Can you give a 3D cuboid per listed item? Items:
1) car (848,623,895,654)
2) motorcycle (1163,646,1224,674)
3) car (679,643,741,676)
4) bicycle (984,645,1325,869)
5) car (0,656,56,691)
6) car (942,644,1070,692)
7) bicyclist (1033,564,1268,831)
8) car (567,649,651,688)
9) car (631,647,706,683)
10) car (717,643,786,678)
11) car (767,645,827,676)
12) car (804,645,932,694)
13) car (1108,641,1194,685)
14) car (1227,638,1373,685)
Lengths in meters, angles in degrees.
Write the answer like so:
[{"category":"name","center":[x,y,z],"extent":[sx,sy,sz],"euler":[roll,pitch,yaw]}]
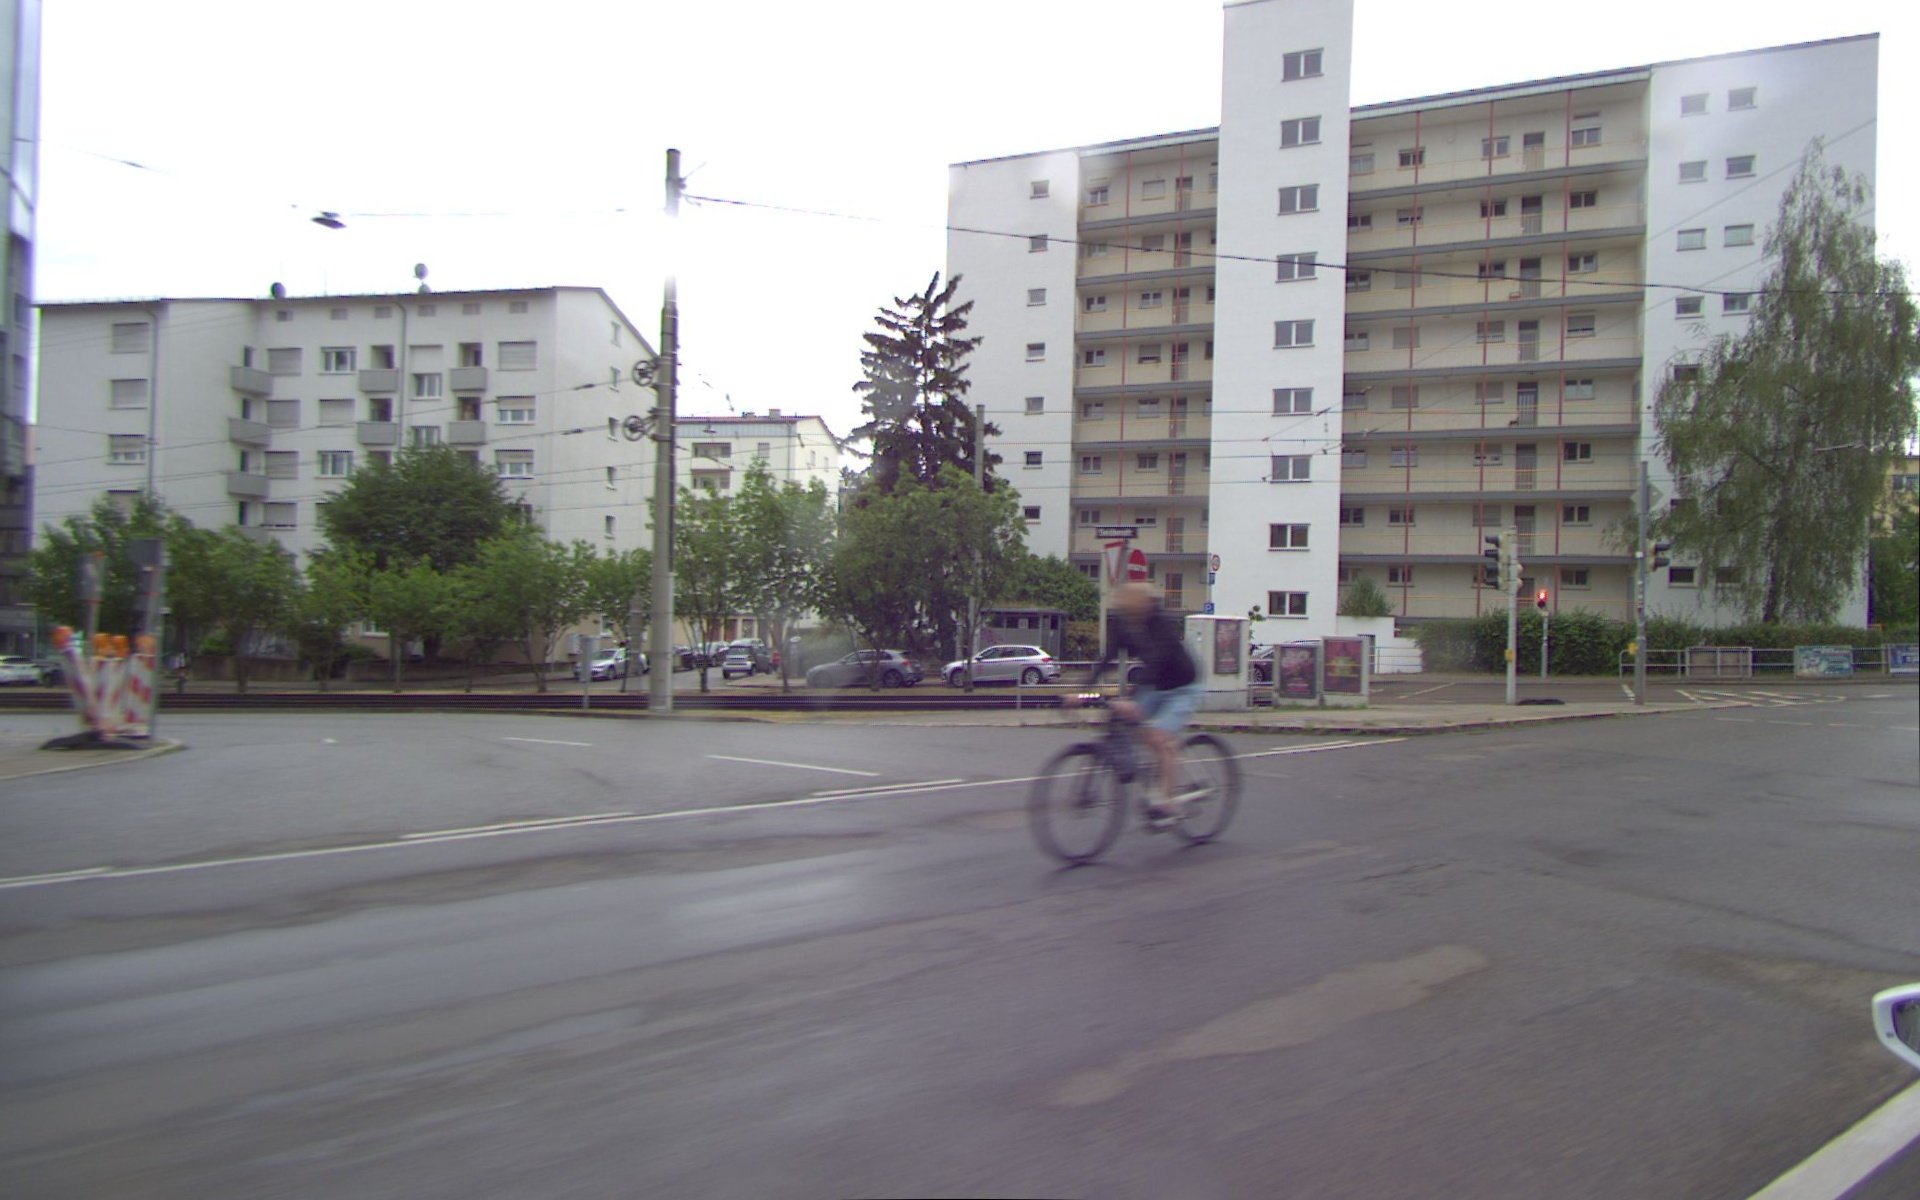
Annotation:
[{"category":"car","center":[-5.864,2.546,66.755],"extent":[1.959,1.924,4.003],"euler":[2,-1,12]},{"category":"motorcycle","center":[8.955,2.307,38.548],"extent":[2.190,0.952,0.900],"euler":[-2,-1,9]},{"category":"car","center":[-14.955,3.546,60.335],"extent":[1.959,1.750,4.003],"euler":[2,-1,12]},{"category":"bicycle","center":[1.256,0.882,6.285],"extent":[2.104,1.163,0.819],"euler":[2,-1,-33]},{"category":"car","center":[-45.612,3.535,47.628],"extent":[4.225,1.528,2.001],"euler":[-3,-1,14]},{"category":"car","center":[1.680,2.422,35.879],"extent":[4.225,1.528,2.001],"euler":[-2,-1,14]},{"category":"bicyclist","center":[1.178,0.560,6.223],"extent":[1.128,1.481,0.819],"euler":[3,-1,-32]},{"category":"car","center":[-17.069,3.304,49.056],"extent":[1.959,1.583,4.195],"euler":[2,-1,12]},{"category":"car","center":[-15.896,3.508,54.972],"extent":[1.959,1.684,4.588],"euler":[2,-1,12]},{"category":"car","center":[-10.053,2.913,48.784],"extent":[1.789,1.462,4.003],"euler":[2,-1,12]},{"category":"car","center":[-8.856,3.276,54.825],"extent":[1.838,1.461,4.003],"euler":[2,-1,12]},{"category":"car","center":[-3.360,2.551,36.922],"extent":[4.225,1.528,2.001],"euler":[-3,-1,14]},{"category":"car","center":[6.599,2.163,34.595],"extent":[2.834,1.411,1.812],"euler":[-2,-2,13]},{"category":"car","center":[11.159,2.034,33.292],"extent":[4.401,1.480,1.876],"euler":[-1,-3,14]}]
